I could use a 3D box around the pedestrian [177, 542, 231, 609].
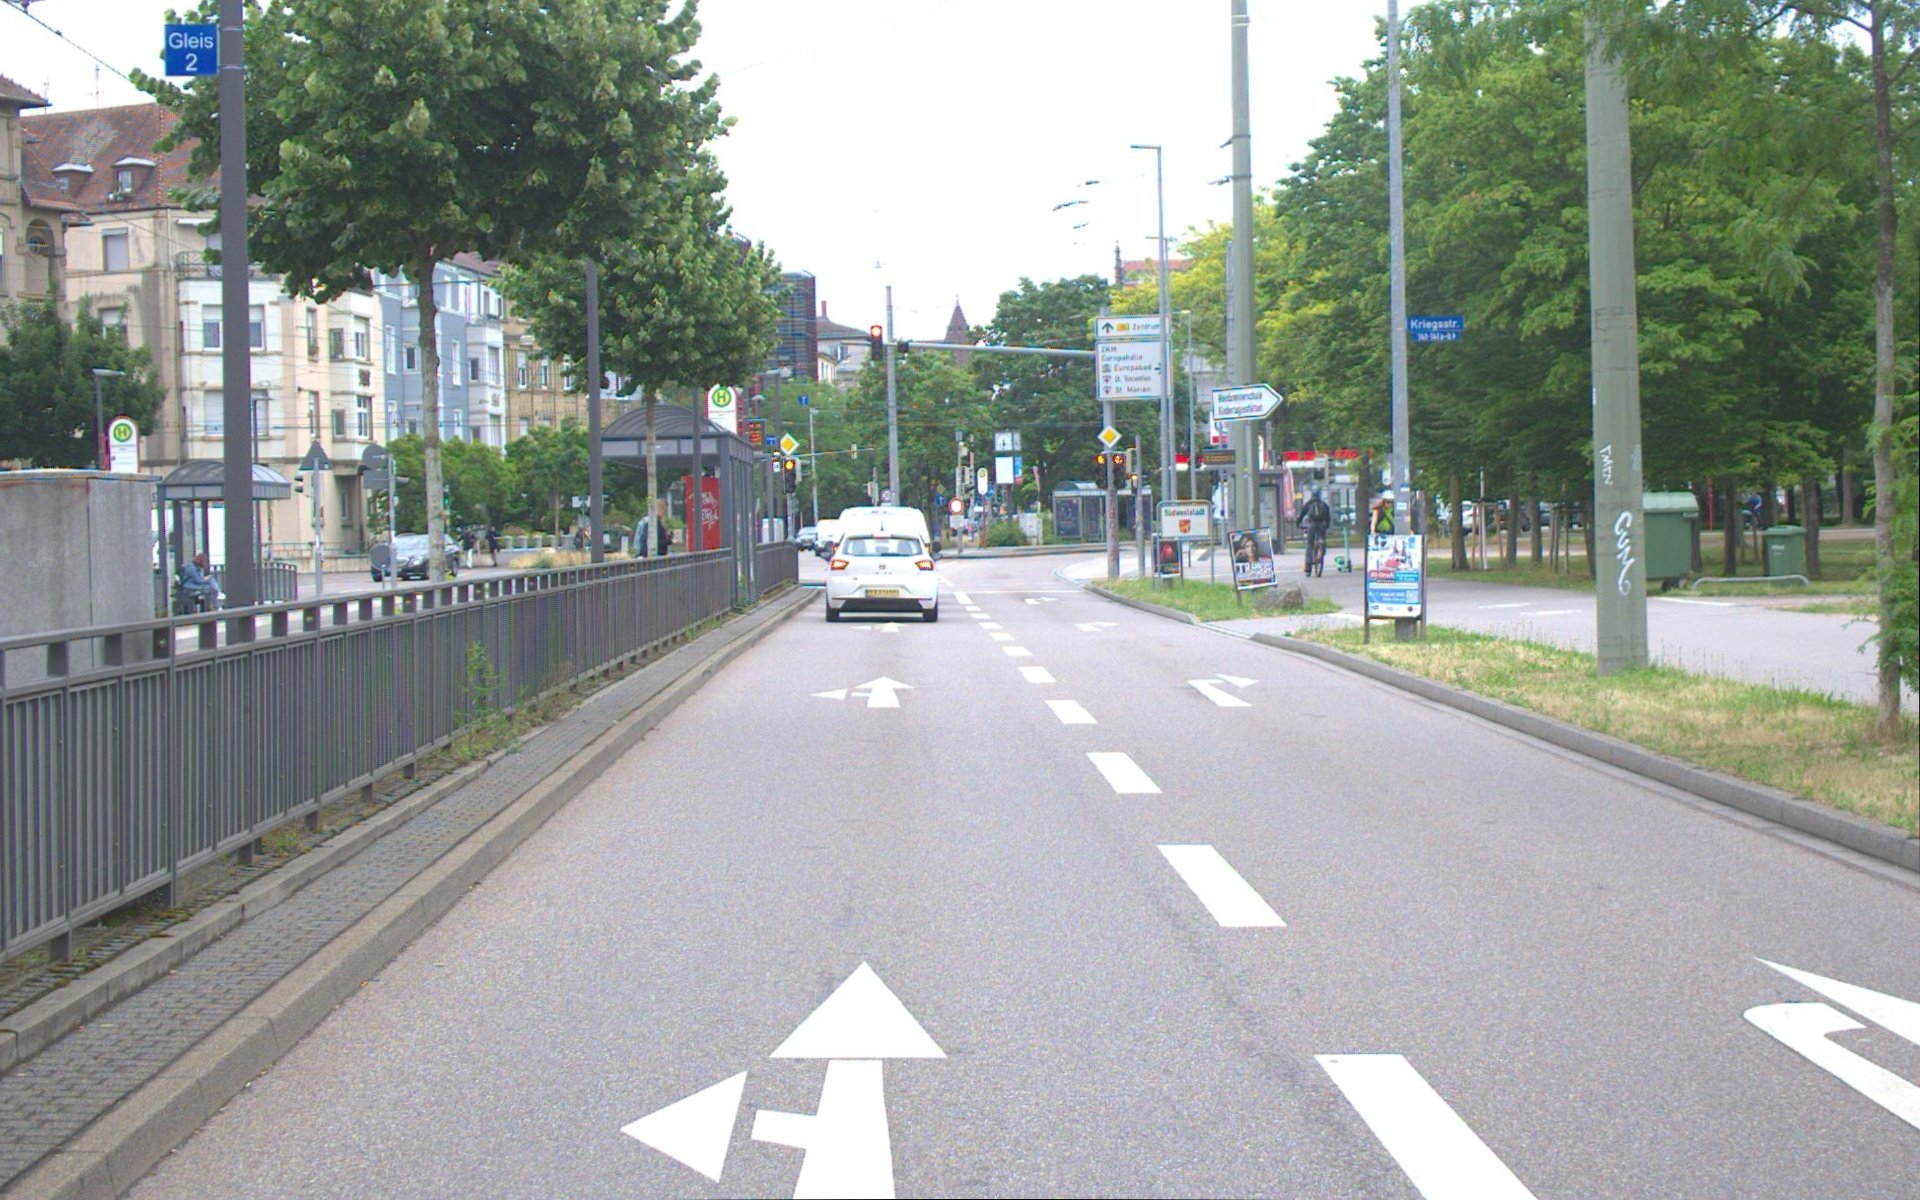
[{"bbox_3d":[-14.645,-0.479,66.593,0.864,1.262,0.694,-2,1,-3],"label":"pedestrian"}]

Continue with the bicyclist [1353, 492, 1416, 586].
[{"bbox_3d":[6.344,-0.907,51.397,0.679,1.375,0.728,-2,1,-15],"label":"bicyclist"}]

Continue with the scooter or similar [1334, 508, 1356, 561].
[{"bbox_3d":[8.402,-1.429,74.969,0.376,1.137,1.199,-2,1,10],"label":"scooter or similar"}]

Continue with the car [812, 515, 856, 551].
[{"bbox_3d":[-6.088,-3.262,166.872,1.770,1.678,3.887,-1,1,3],"label":"car"}]

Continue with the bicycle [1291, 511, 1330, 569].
[{"bbox_3d":[7.309,-1.261,71.651,0.679,1.151,1.897,-2,2,9],"label":"bicycle"}]

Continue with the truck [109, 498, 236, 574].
[{"bbox_3d":[-22.016,-1.790,96.327,1.788,2.025,5.395,-1,1,5],"label":"truck"}]

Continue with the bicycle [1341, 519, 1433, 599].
[{"bbox_3d":[6.367,-0.621,51.385,0.679,1.151,1.899,-2,2,-15],"label":"bicycle"}]

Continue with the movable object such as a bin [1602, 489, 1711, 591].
[{"bbox_3d":[9.864,-0.851,48.757,1.282,1.385,1.159,-1,1,0],"label":"movable object such as a bin"}]

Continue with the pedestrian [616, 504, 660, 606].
[{"bbox_3d":[-4.748,-0.670,50.683,0.576,1.476,0.618,-2,1,-3],"label":"pedestrian"}]

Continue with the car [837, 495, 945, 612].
[{"bbox_3d":[-1.217,-0.846,60.463,1.782,1.956,4.383,-1,1,-1],"label":"car"}]

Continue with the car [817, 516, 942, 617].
[{"bbox_3d":[-1.213,-0.549,53.217,1.782,1.467,4.010,-1,1,0],"label":"car"}]

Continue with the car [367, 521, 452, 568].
[{"bbox_3d":[-17.863,-1.811,111.780,1.770,1.488,3.886,-1,1,5],"label":"car"}]
